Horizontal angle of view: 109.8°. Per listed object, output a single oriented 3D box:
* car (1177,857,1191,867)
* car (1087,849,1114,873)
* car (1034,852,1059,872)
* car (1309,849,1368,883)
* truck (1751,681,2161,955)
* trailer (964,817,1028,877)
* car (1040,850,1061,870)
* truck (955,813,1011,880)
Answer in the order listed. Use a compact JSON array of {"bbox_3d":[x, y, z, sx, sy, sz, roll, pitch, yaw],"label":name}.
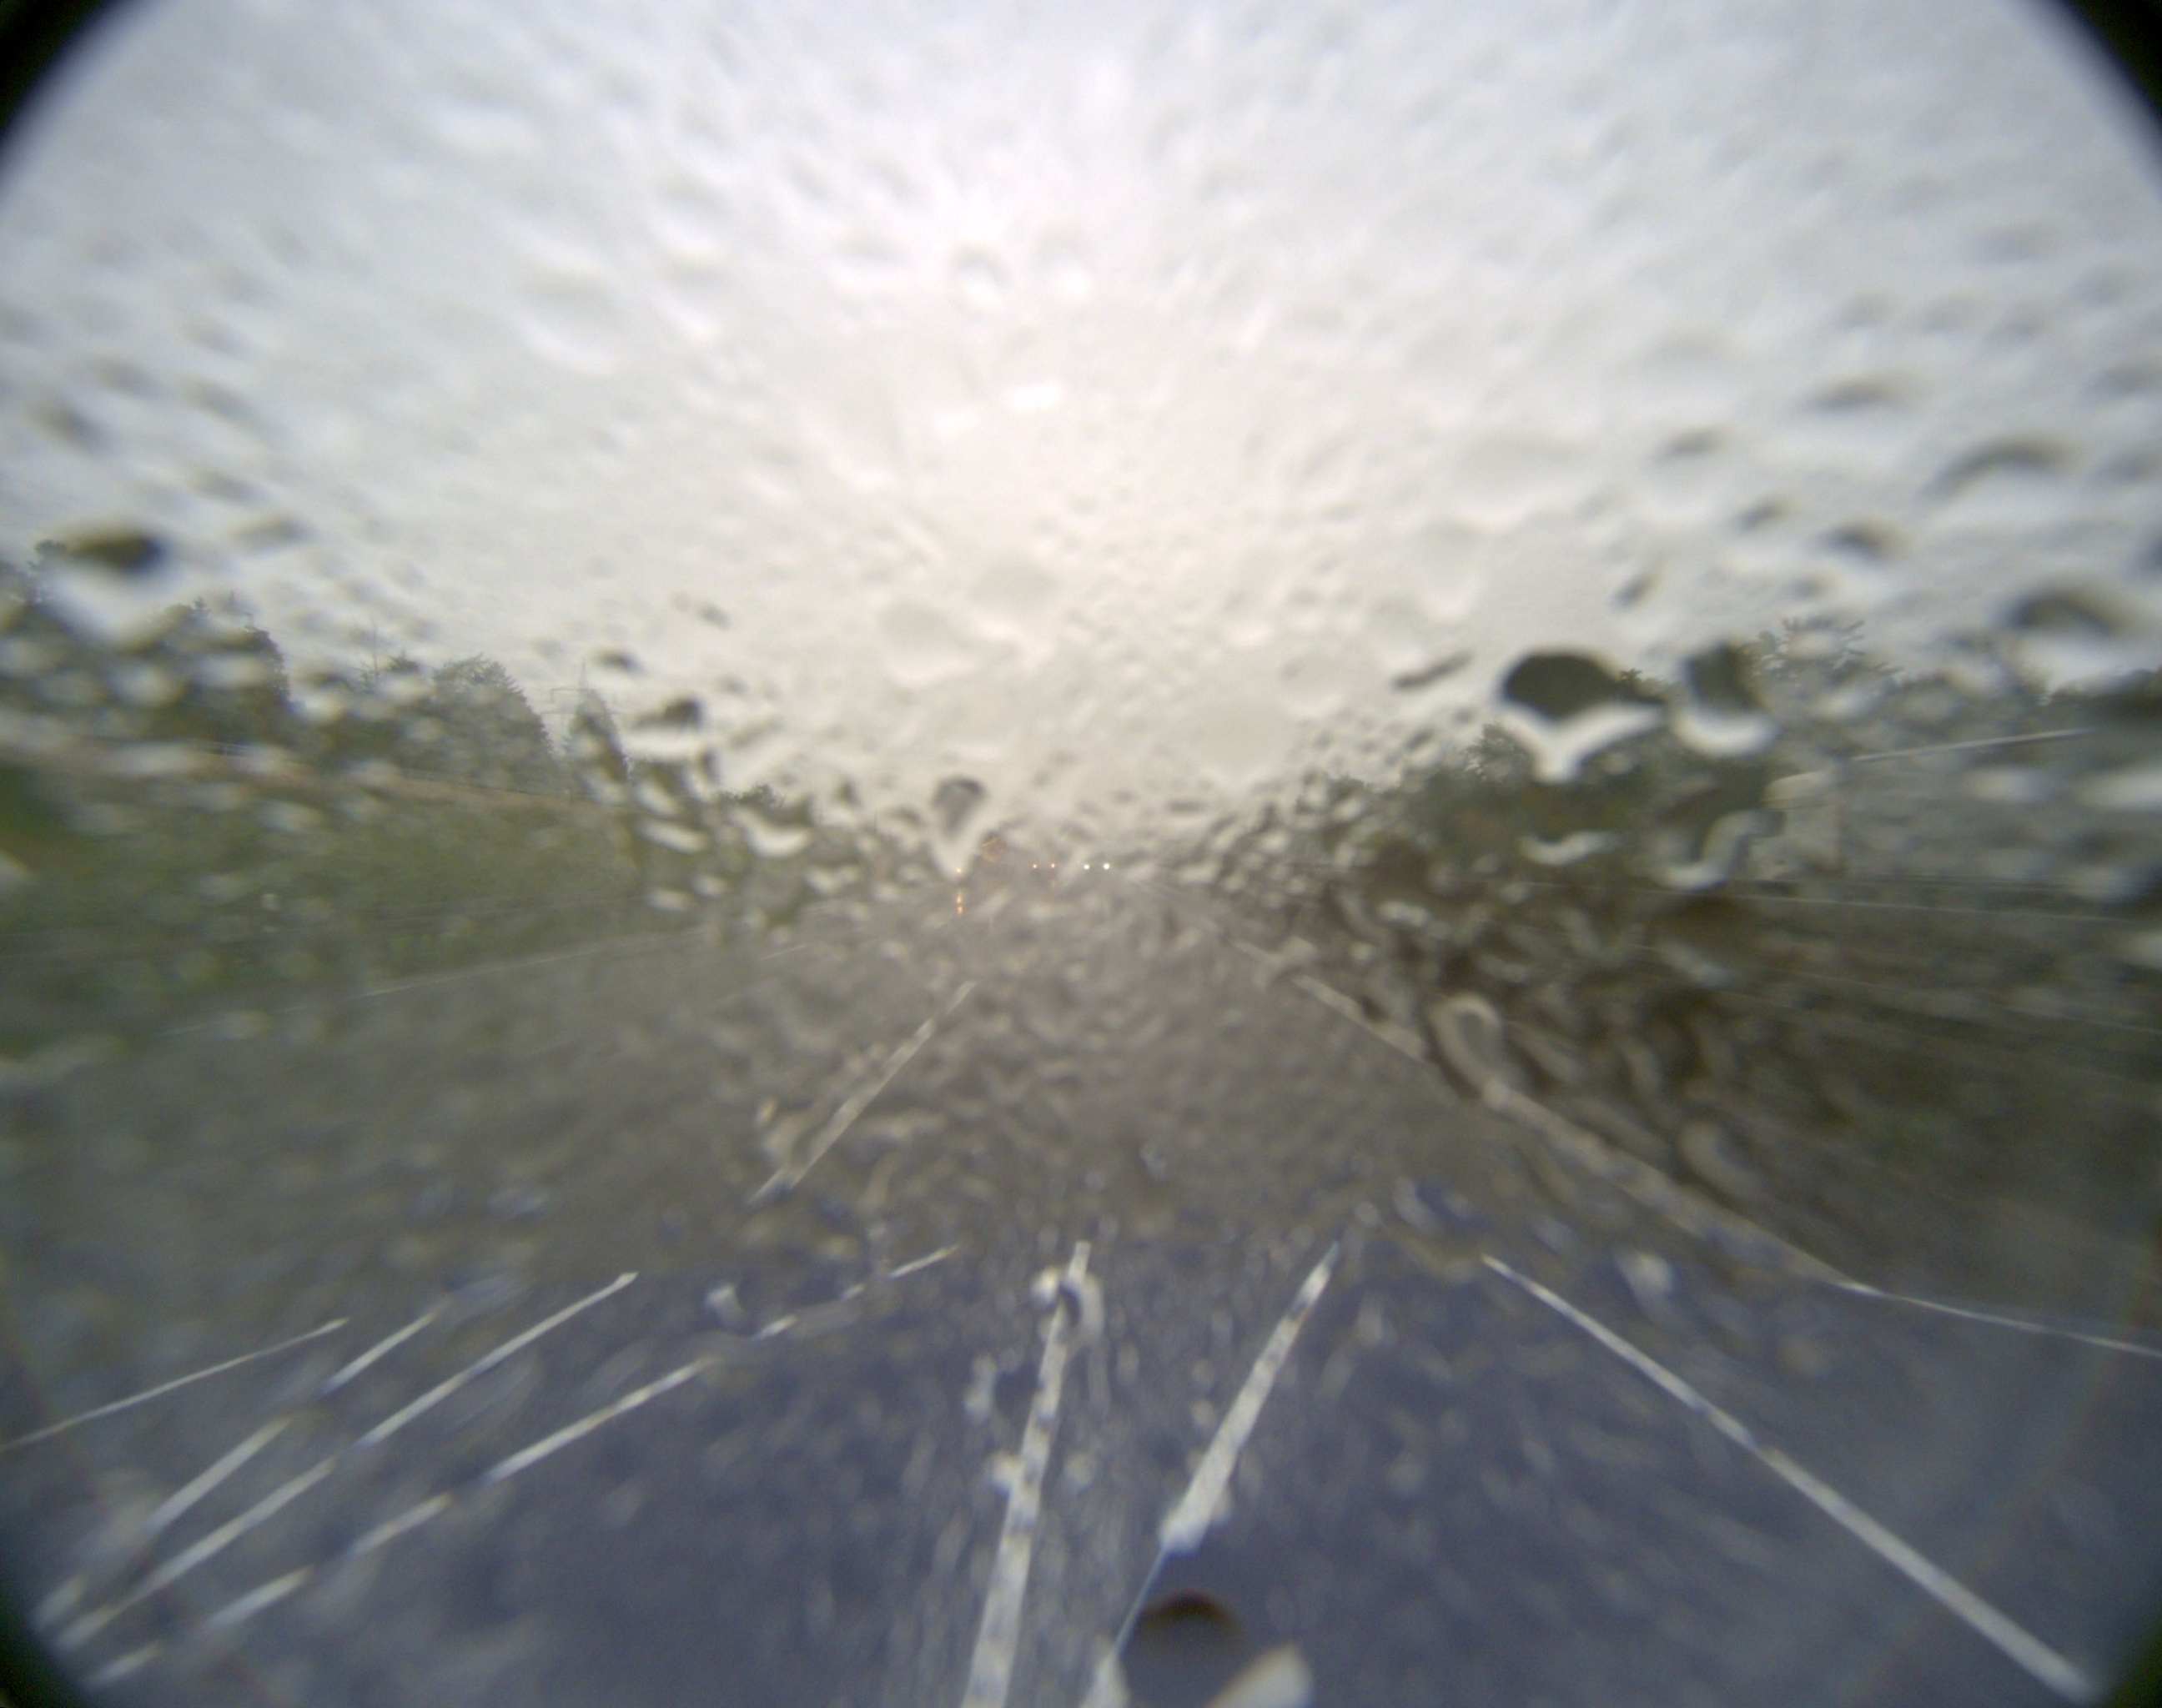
[{"bbox_3d":[17.189,1.349,127.021,1.737,1.558,4.761,-2,0,0],"label":"car"},{"bbox_3d":[1.430,0.528,56.728,1.845,1.671,4.000,-2,0,1],"label":"car"},{"bbox_3d":[-2.612,0.608,58.363,1.663,1.491,3.837,-2,0,1],"label":"car"},{"bbox_3d":[16.461,0.766,48.831,1.933,2.002,5.402,-2,0,0],"label":"car"},{"bbox_3d":[19.808,-0.657,12.169,2.973,4.647,17.100,-2,0,0],"label":"truck"},{"bbox_3d":[-5.960,-0.405,56.471,2.486,3.743,16.546,-2,0,1],"label":"trailer"},{"bbox_3d":[-2.550,0.539,64.017,1.517,1.606,3.186,-2,0,0],"label":"car"},{"bbox_3d":[-6.105,-0.430,48.211,2.457,3.866,6.200,-2,0,1],"label":"truck"}]
